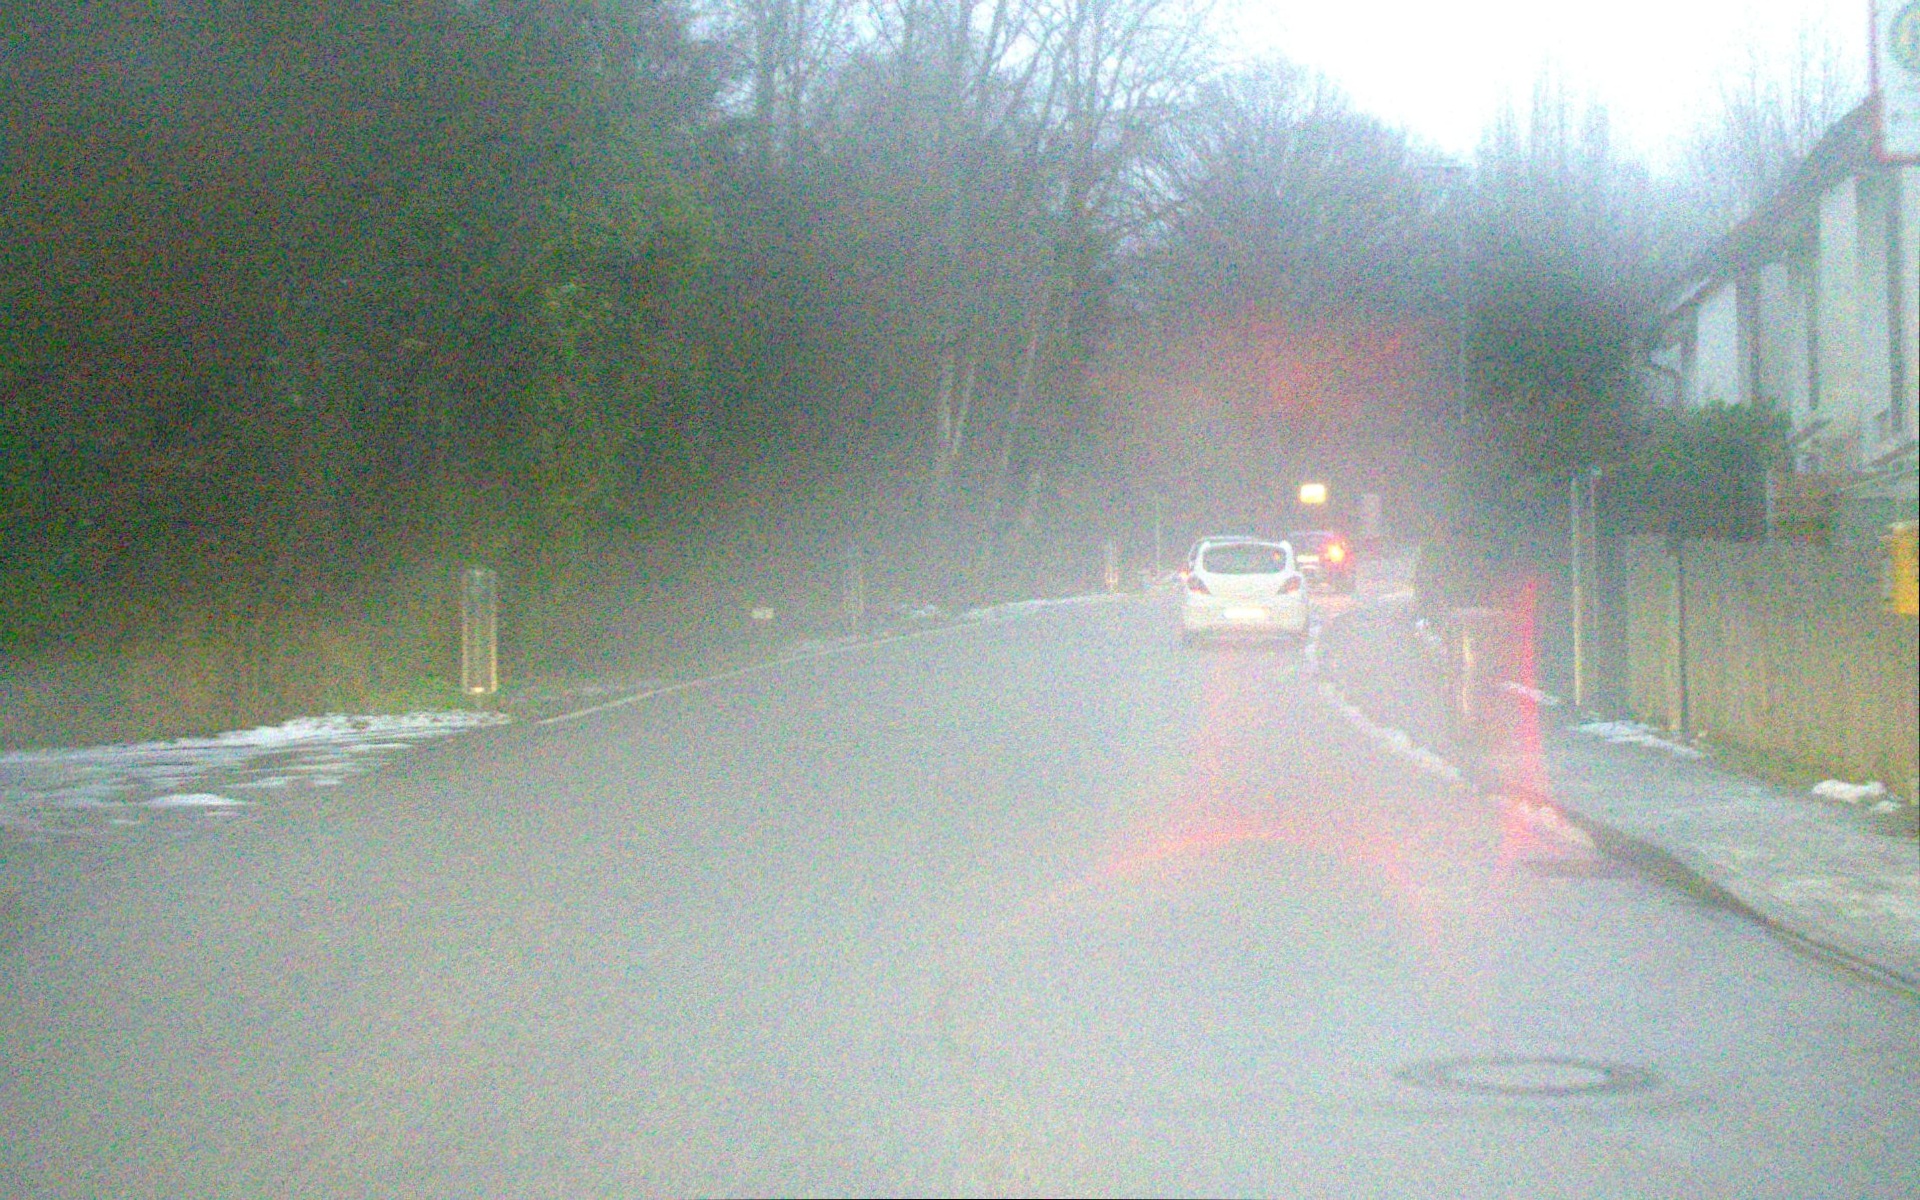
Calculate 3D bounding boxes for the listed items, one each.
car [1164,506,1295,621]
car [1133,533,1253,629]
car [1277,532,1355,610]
[{"bbox_3d":[3.743,-0.515,47.453,1.704,1.501,4.024,1,1,5],"label":"car"},{"bbox_3d":[4.568,-0.401,67.010,1.933,1.775,3.999,-1,1,10],"label":"car"},{"bbox_3d":[8.463,-0.712,81.511,1.690,1.768,3.860,-1,1,8],"label":"car"}]
